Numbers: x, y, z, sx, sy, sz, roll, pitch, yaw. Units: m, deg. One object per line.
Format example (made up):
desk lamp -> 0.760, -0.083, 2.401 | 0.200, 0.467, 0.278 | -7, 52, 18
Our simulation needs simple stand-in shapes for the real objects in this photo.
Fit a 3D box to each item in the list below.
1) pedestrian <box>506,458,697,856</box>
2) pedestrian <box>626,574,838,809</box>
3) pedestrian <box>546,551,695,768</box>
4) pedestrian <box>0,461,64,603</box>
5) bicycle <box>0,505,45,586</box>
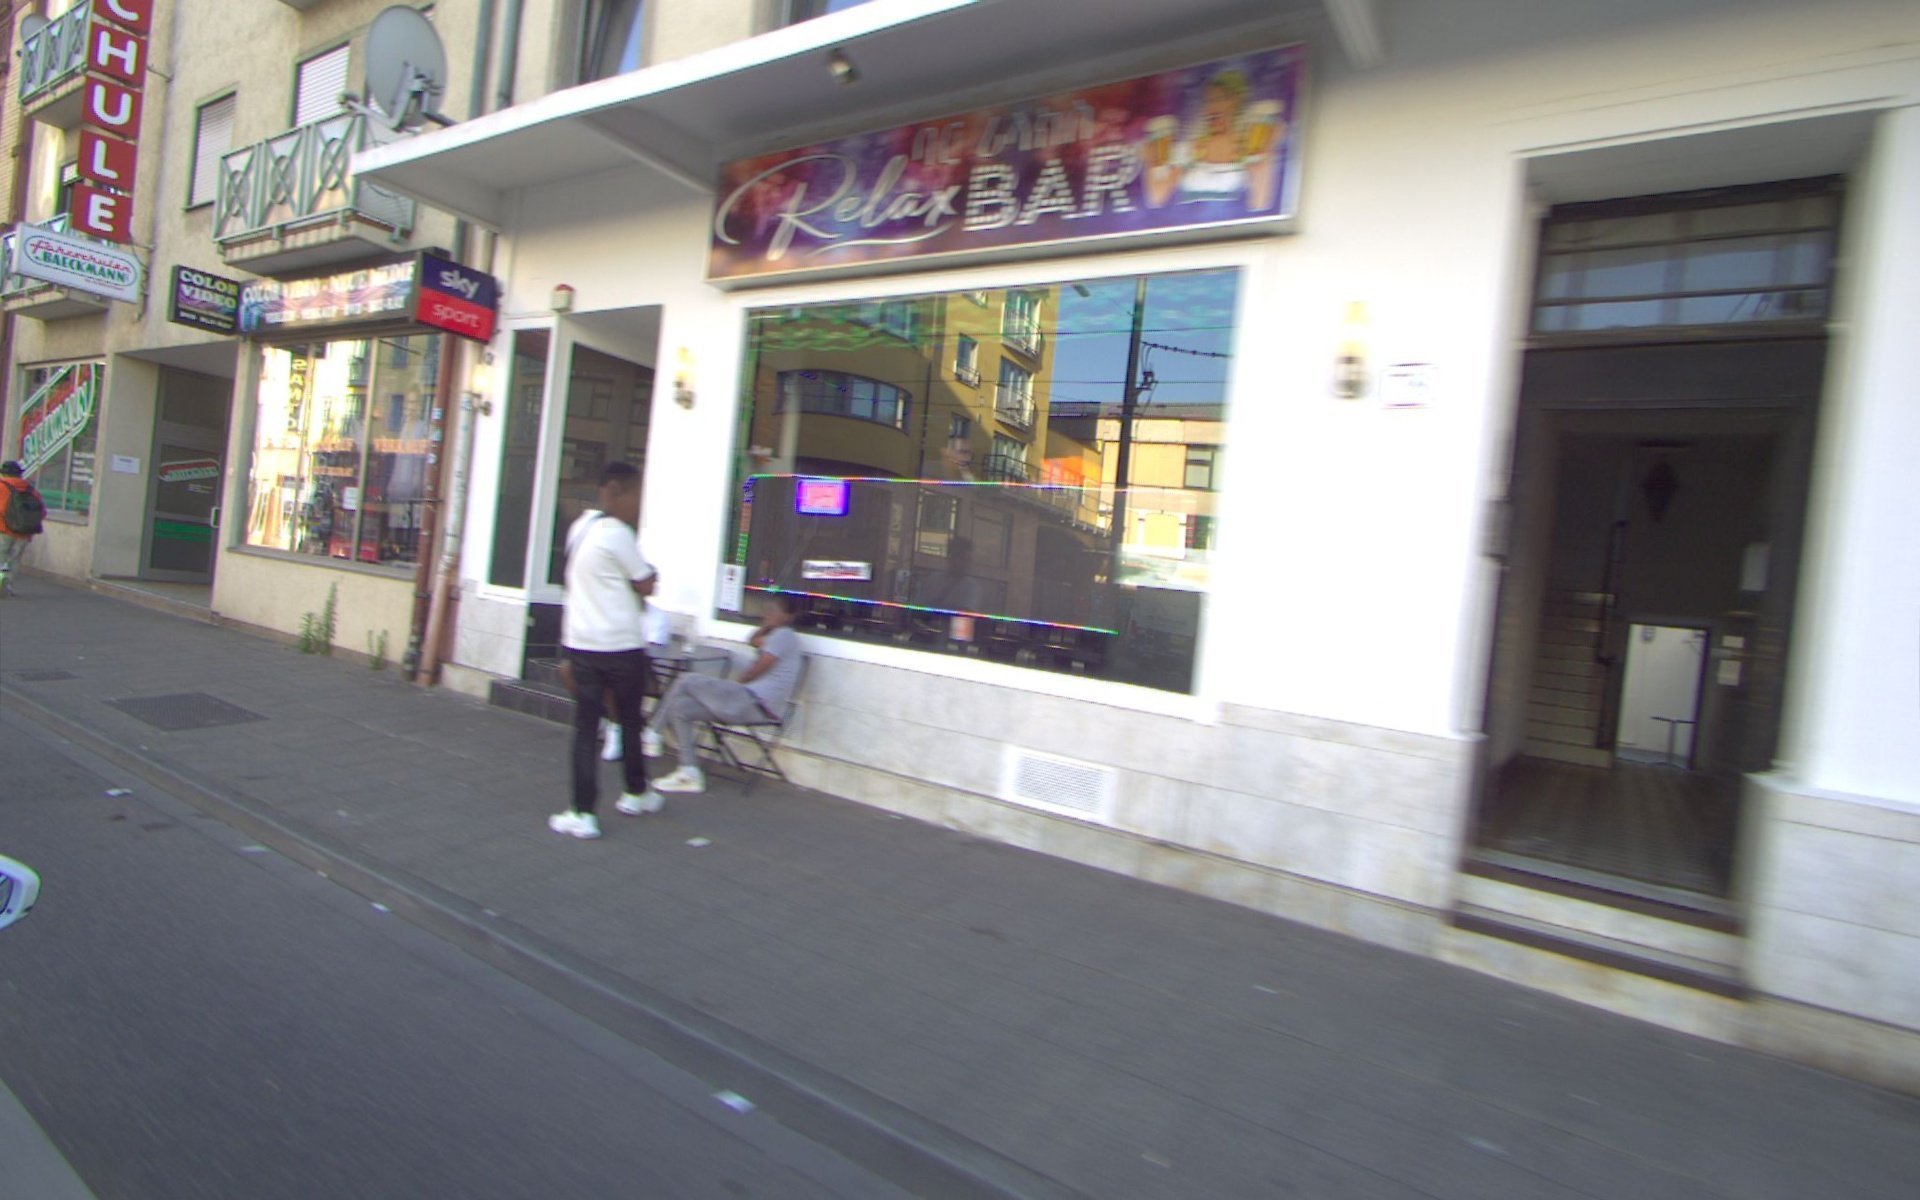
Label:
pedestrian -> -1.829, 0.244, 5.094 | 0.700, 1.840, 0.671 | -3, 10, -40
pedestrian -> -1.363, 0.508, 6.074 | 0.997, 1.193, 0.705 | 6, 8, 15
pedestrian -> -2.234, 0.360, 6.688 | 0.694, 1.275, 0.828 | 4, 8, -1
pedestrian -> -11.626, -0.847, 12.275 | 0.812, 1.653, 0.796 | 9, 9, 34
bicycle -> -14.722, -0.871, 15.405 | 2.274, 1.076, 0.554 | 8, 5, 35
